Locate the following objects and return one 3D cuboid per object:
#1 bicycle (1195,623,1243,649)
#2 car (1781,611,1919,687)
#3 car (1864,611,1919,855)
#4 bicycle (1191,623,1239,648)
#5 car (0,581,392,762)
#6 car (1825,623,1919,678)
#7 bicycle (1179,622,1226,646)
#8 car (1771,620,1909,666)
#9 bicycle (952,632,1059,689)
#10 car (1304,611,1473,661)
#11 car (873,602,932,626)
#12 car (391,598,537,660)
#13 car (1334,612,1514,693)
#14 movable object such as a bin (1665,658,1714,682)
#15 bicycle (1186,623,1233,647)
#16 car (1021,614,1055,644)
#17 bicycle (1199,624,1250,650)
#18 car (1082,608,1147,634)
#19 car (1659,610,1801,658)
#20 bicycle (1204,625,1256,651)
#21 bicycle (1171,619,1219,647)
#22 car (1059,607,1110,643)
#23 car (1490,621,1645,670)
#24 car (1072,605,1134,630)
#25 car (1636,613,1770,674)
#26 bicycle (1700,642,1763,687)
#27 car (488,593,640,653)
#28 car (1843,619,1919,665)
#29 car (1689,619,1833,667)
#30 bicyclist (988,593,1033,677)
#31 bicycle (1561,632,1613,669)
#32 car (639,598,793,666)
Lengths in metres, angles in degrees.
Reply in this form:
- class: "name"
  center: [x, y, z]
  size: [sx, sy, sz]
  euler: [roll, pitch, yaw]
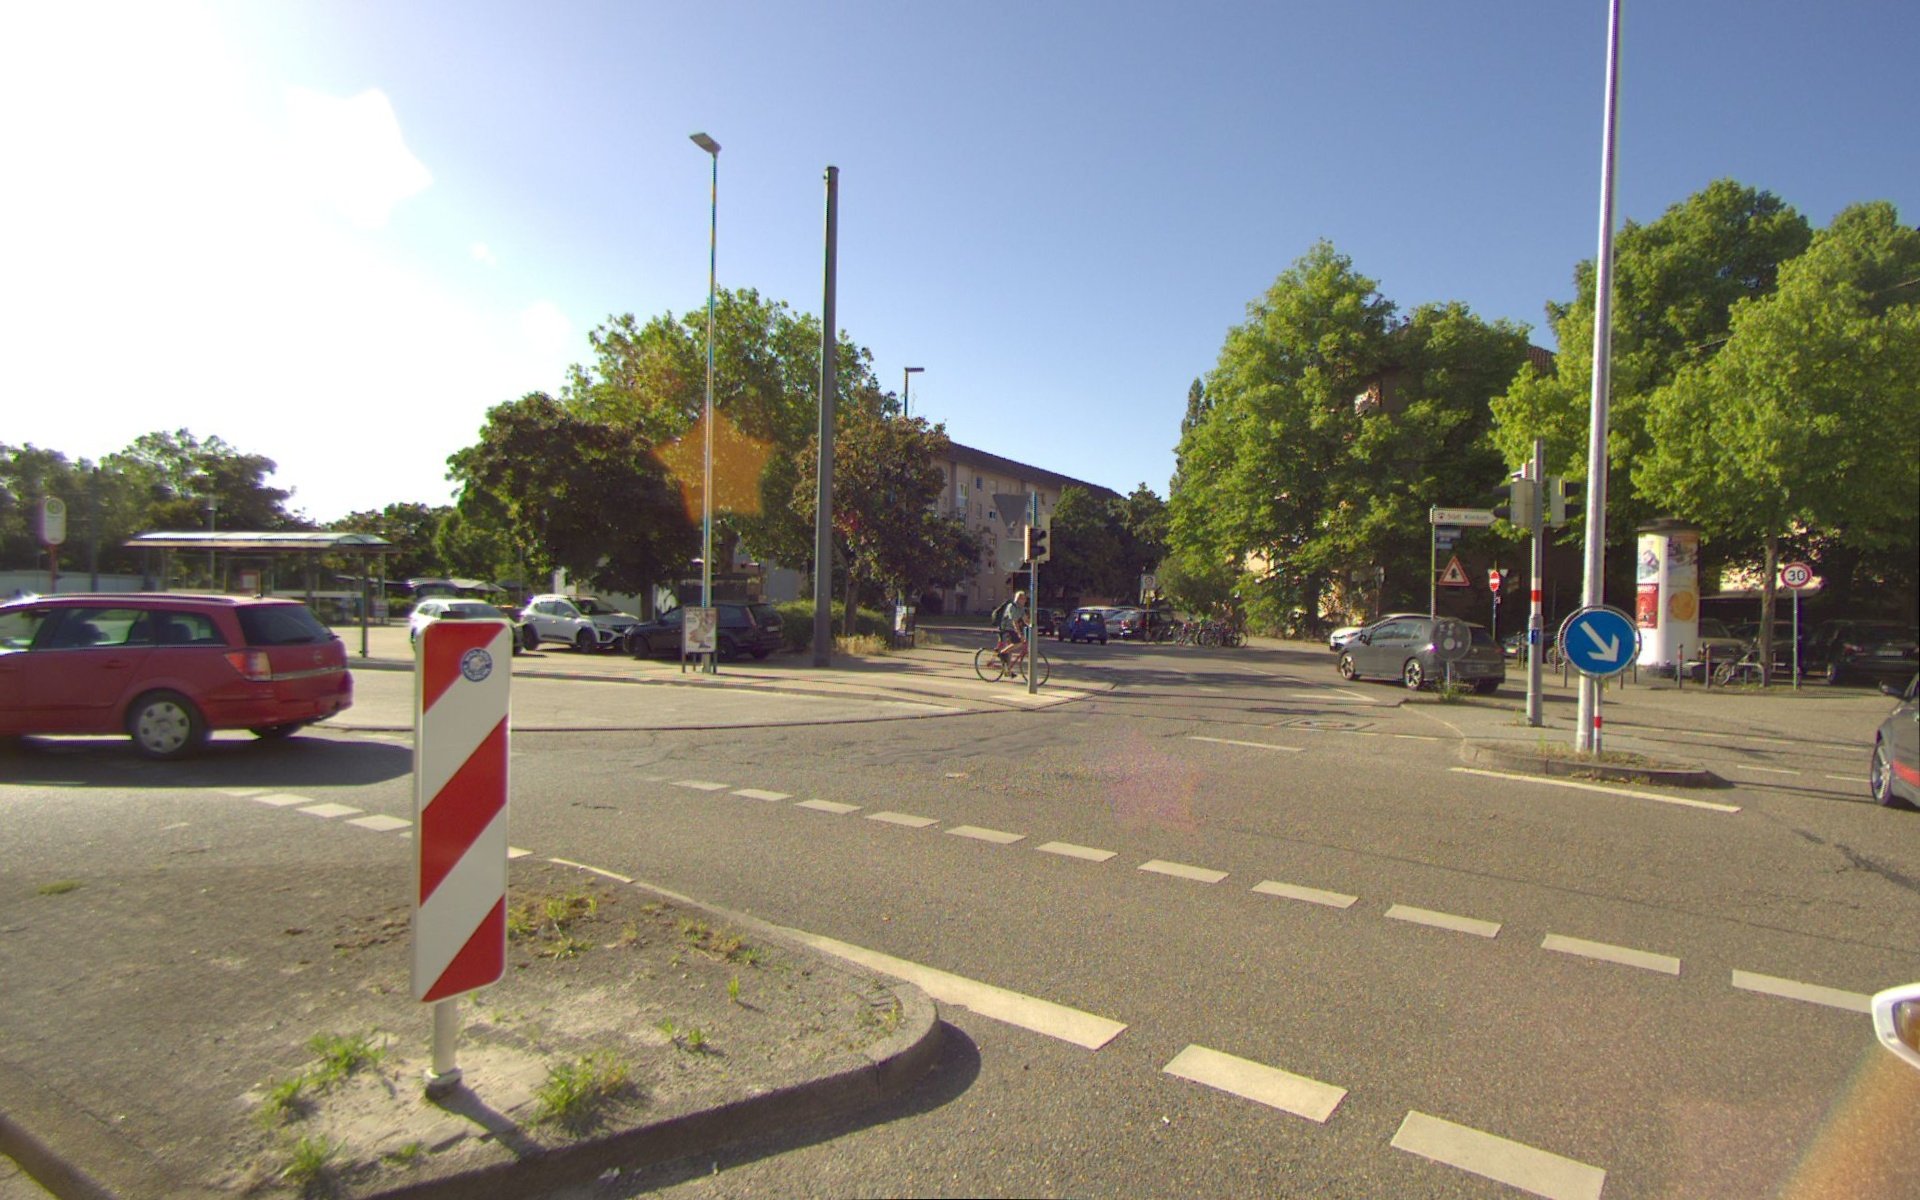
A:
- class: "bicycle"
  center: [10.898, 1.514, 42.252]
  size: [1.999, 1.045, 0.467]
  euler: [1, 0, -13]
- class: "car"
  center: [23.684, 1.229, 26.720]
  size: [1.802, 1.694, 4.332]
  euler: [1, 2, 25]
- class: "car"
  center: [7.284, 0.879, 6.615]
  size: [1.595, 1.582, 3.246]
  euler: [1, 0, 36]
- class: "bicycle"
  center: [10.872, 1.521, 42.752]
  size: [1.999, 1.045, 0.447]
  euler: [1, 0, -13]
- class: "car"
  center: [-8.295, 0.627, 9.721]
  size: [4.400, 1.573, 1.998]
  euler: [1, 0, -5]
- class: "car"
  center: [27.383, 1.446, 29.414]
  size: [1.786, 1.441, 3.949]
  euler: [1, 0, 20]
- class: "bicycle"
  center: [10.608, 1.479, 43.920]
  size: [1.999, 1.045, 0.447]
  euler: [1, 0, -13]
- class: "car"
  center: [33.527, 1.624, 38.325]
  size: [3.873, 1.590, 1.758]
  euler: [1, 0, -4]
- class: "bicycle"
  center: [0.879, 1.149, 19.474]
  size: [1.910, 0.999, 0.829]
  euler: [1, -1, 26]
- class: "car"
  center: [14.539, 1.209, 34.314]
  size: [4.936, 1.539, 1.924]
  euler: [1, 0, 2]
- class: "car"
  center: [-4.632, 1.139, 80.831]
  size: [4.349, 1.822, 2.064]
  euler: [1, -1, 31]
- class: "car"
  center: [-13.575, 0.762, 27.490]
  size: [3.527, 1.528, 1.683]
  euler: [1, 0, 24]
- class: "car"
  center: [9.642, 1.038, 21.213]
  size: [1.653, 1.528, 3.753]
  euler: [1, 0, -9]
- class: "movable object such as a bin"
  center: [19.035, 1.823, 26.204]
  size: [1.099, 0.572, 0.574]
  euler: [1, 0, -25]
- class: "bicycle"
  center: [10.774, 1.516, 43.348]
  size: [1.999, 1.045, 0.447]
  euler: [1, 0, -13]
- class: "car"
  center: [4.243, 1.582, 55.194]
  size: [1.650, 1.528, 3.597]
  euler: [1, 0, 2]
- class: "bicycle"
  center: [10.975, 1.531, 41.693]
  size: [1.999, 1.045, 0.569]
  euler: [1, 0, -13]
- class: "car"
  center: [9.172, 1.246, 59.576]
  size: [3.550, 1.501, 1.609]
  euler: [1, 0, -30]
- class: "car"
  center: [28.740, 1.257, 37.543]
  size: [4.167, 1.662, 1.758]
  euler: [1, 0, -6]
- class: "bicycle"
  center: [11.007, 1.555, 40.977]
  size: [1.999, 1.045, 0.569]
  euler: [1, 0, -13]
- class: "bicycle"
  center: [10.426, 1.464, 44.583]
  size: [1.999, 1.192, 0.666]
  euler: [1, 0, -13]
- class: "car"
  center: [5.589, 1.117, 45.407]
  size: [1.651, 1.528, 3.594]
  euler: [1, 0, -3]
- class: "car"
  center: [20.814, 1.536, 34.492]
  size: [4.218, 1.539, 1.908]
  euler: [1, 0, -4]
- class: "car"
  center: [8.887, 1.076, 62.419]
  size: [3.550, 1.501, 1.609]
  euler: [1, 0, -30]
- class: "car"
  center: [21.669, 1.218, 29.479]
  size: [1.884, 1.632, 4.002]
  euler: [1, -1, 16]
- class: "bicycle"
  center: [19.072, 1.585, 24.838]
  size: [1.566, 1.086, 0.352]
  euler: [1, 0, -16]
- class: "car"
  center: [-11.493, 0.651, 29.198]
  size: [3.922, 1.601, 1.799]
  euler: [1, -1, 21]
- class: "car"
  center: [33.007, 1.455, 34.720]
  size: [3.879, 1.506, 1.756]
  euler: [1, 0, -11]
- class: "car"
  center: [27.323, 1.458, 34.306]
  size: [3.879, 1.506, 1.756]
  euler: [1, 0, -11]
- class: "bicyclist"
  center: [0.982, 0.662, 19.433]
  size: [0.585, 1.585, 0.827]
  euler: [1, -1, 26]
- class: "bicycle"
  center: [19.021, 1.536, 30.477]
  size: [1.566, 1.086, 0.352]
  euler: [1, 0, -16]
- class: "car"
  center: [-6.228, 0.767, 25.622]
  size: [3.527, 1.528, 1.682]
  euler: [1, 2, 24]
